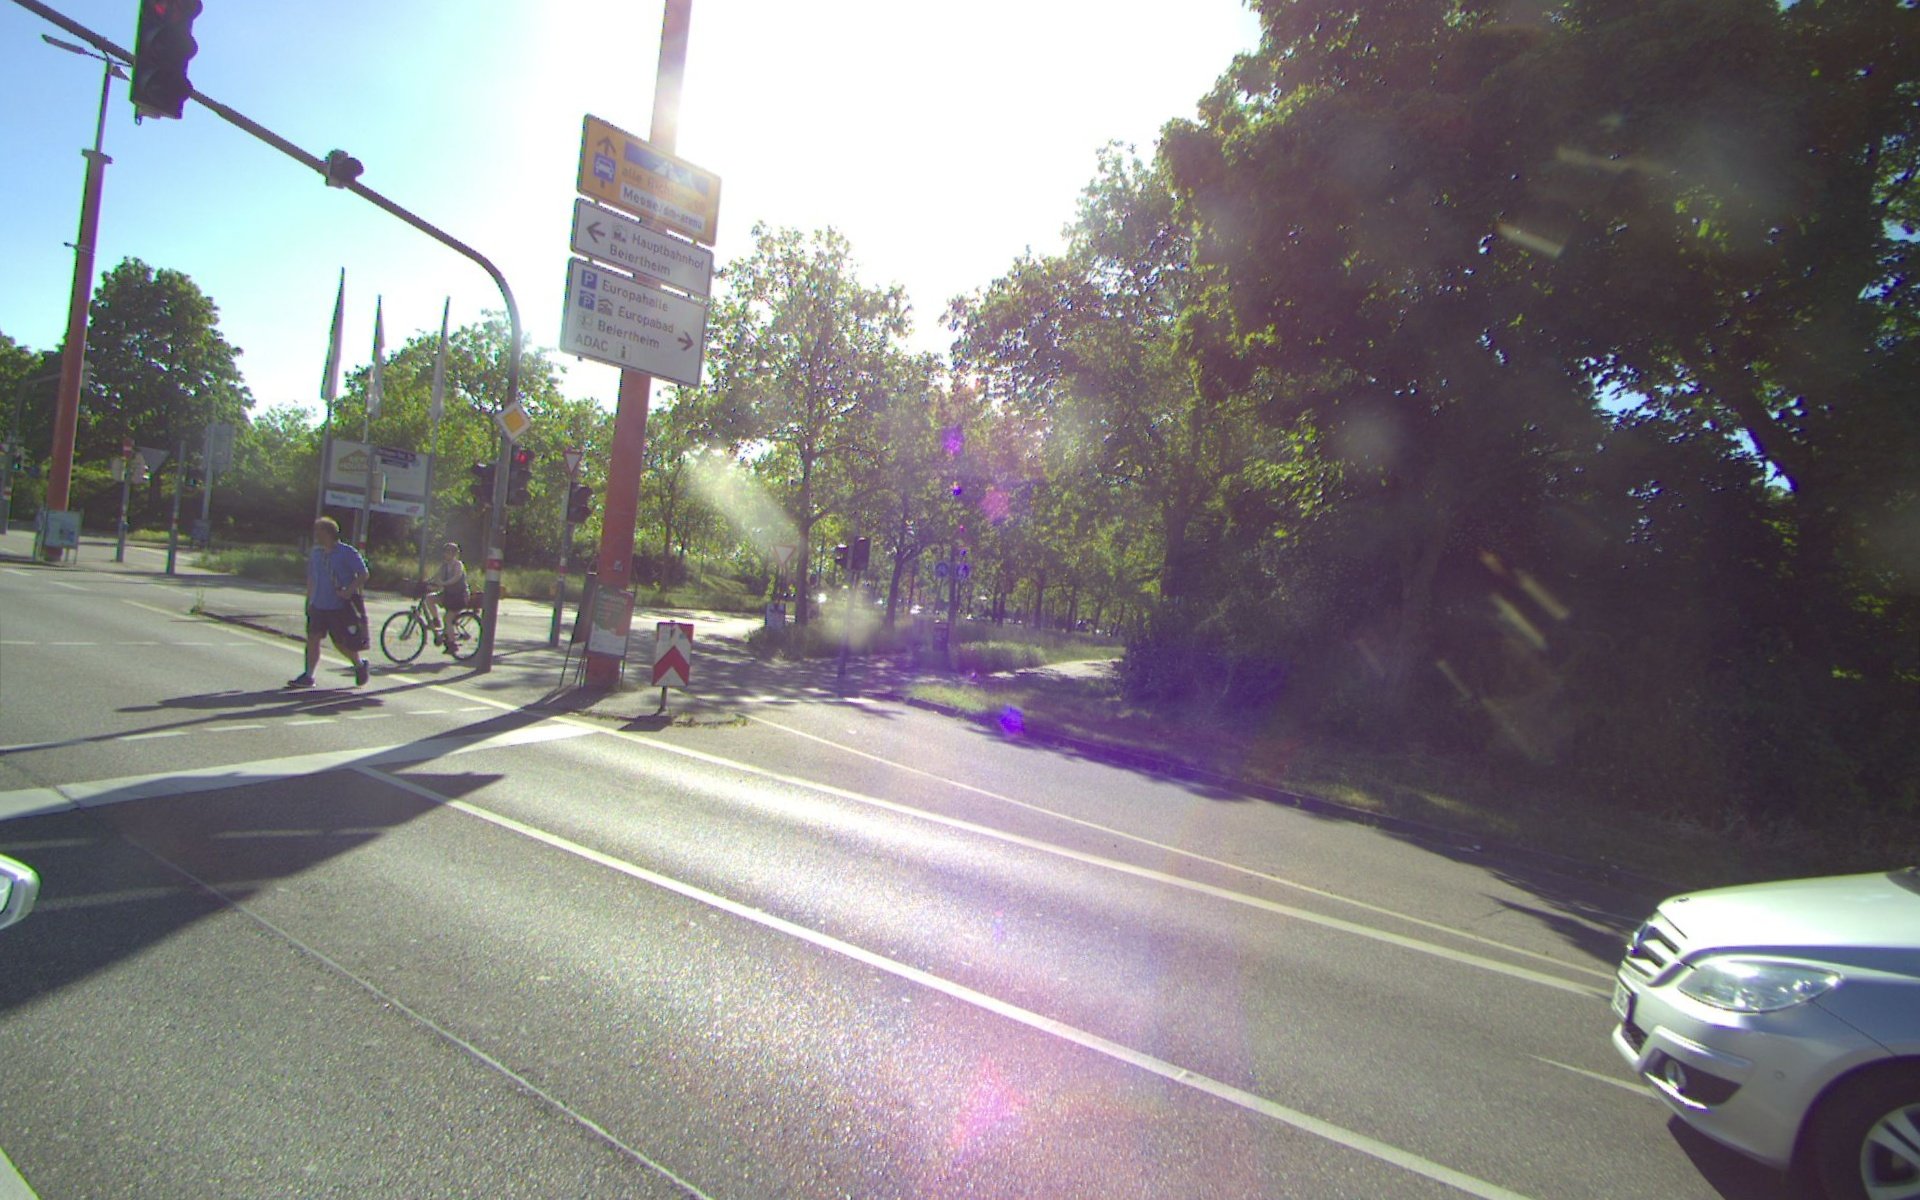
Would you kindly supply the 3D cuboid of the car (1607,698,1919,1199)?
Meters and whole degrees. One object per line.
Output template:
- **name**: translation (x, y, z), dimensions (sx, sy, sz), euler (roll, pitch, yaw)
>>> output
- **car**: translation (4.341, 1.355, 2.905), dimensions (3.994, 1.559, 1.670), euler (7, 0, 33)

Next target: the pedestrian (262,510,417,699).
- **pedestrian**: translation (-6.497, 0.051, 10.594), dimensions (0.884, 1.810, 0.894), euler (7, 0, -2)

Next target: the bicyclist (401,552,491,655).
- **bicyclist**: translation (-7.310, 0.064, 14.329), dimensions (0.695, 1.358, 0.742), euler (7, 0, 21)

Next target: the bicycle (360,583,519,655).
- **bicycle**: translation (-7.361, 0.309, 14.368), dimensions (0.549, 0.889, 2.169), euler (7, -1, 19)
